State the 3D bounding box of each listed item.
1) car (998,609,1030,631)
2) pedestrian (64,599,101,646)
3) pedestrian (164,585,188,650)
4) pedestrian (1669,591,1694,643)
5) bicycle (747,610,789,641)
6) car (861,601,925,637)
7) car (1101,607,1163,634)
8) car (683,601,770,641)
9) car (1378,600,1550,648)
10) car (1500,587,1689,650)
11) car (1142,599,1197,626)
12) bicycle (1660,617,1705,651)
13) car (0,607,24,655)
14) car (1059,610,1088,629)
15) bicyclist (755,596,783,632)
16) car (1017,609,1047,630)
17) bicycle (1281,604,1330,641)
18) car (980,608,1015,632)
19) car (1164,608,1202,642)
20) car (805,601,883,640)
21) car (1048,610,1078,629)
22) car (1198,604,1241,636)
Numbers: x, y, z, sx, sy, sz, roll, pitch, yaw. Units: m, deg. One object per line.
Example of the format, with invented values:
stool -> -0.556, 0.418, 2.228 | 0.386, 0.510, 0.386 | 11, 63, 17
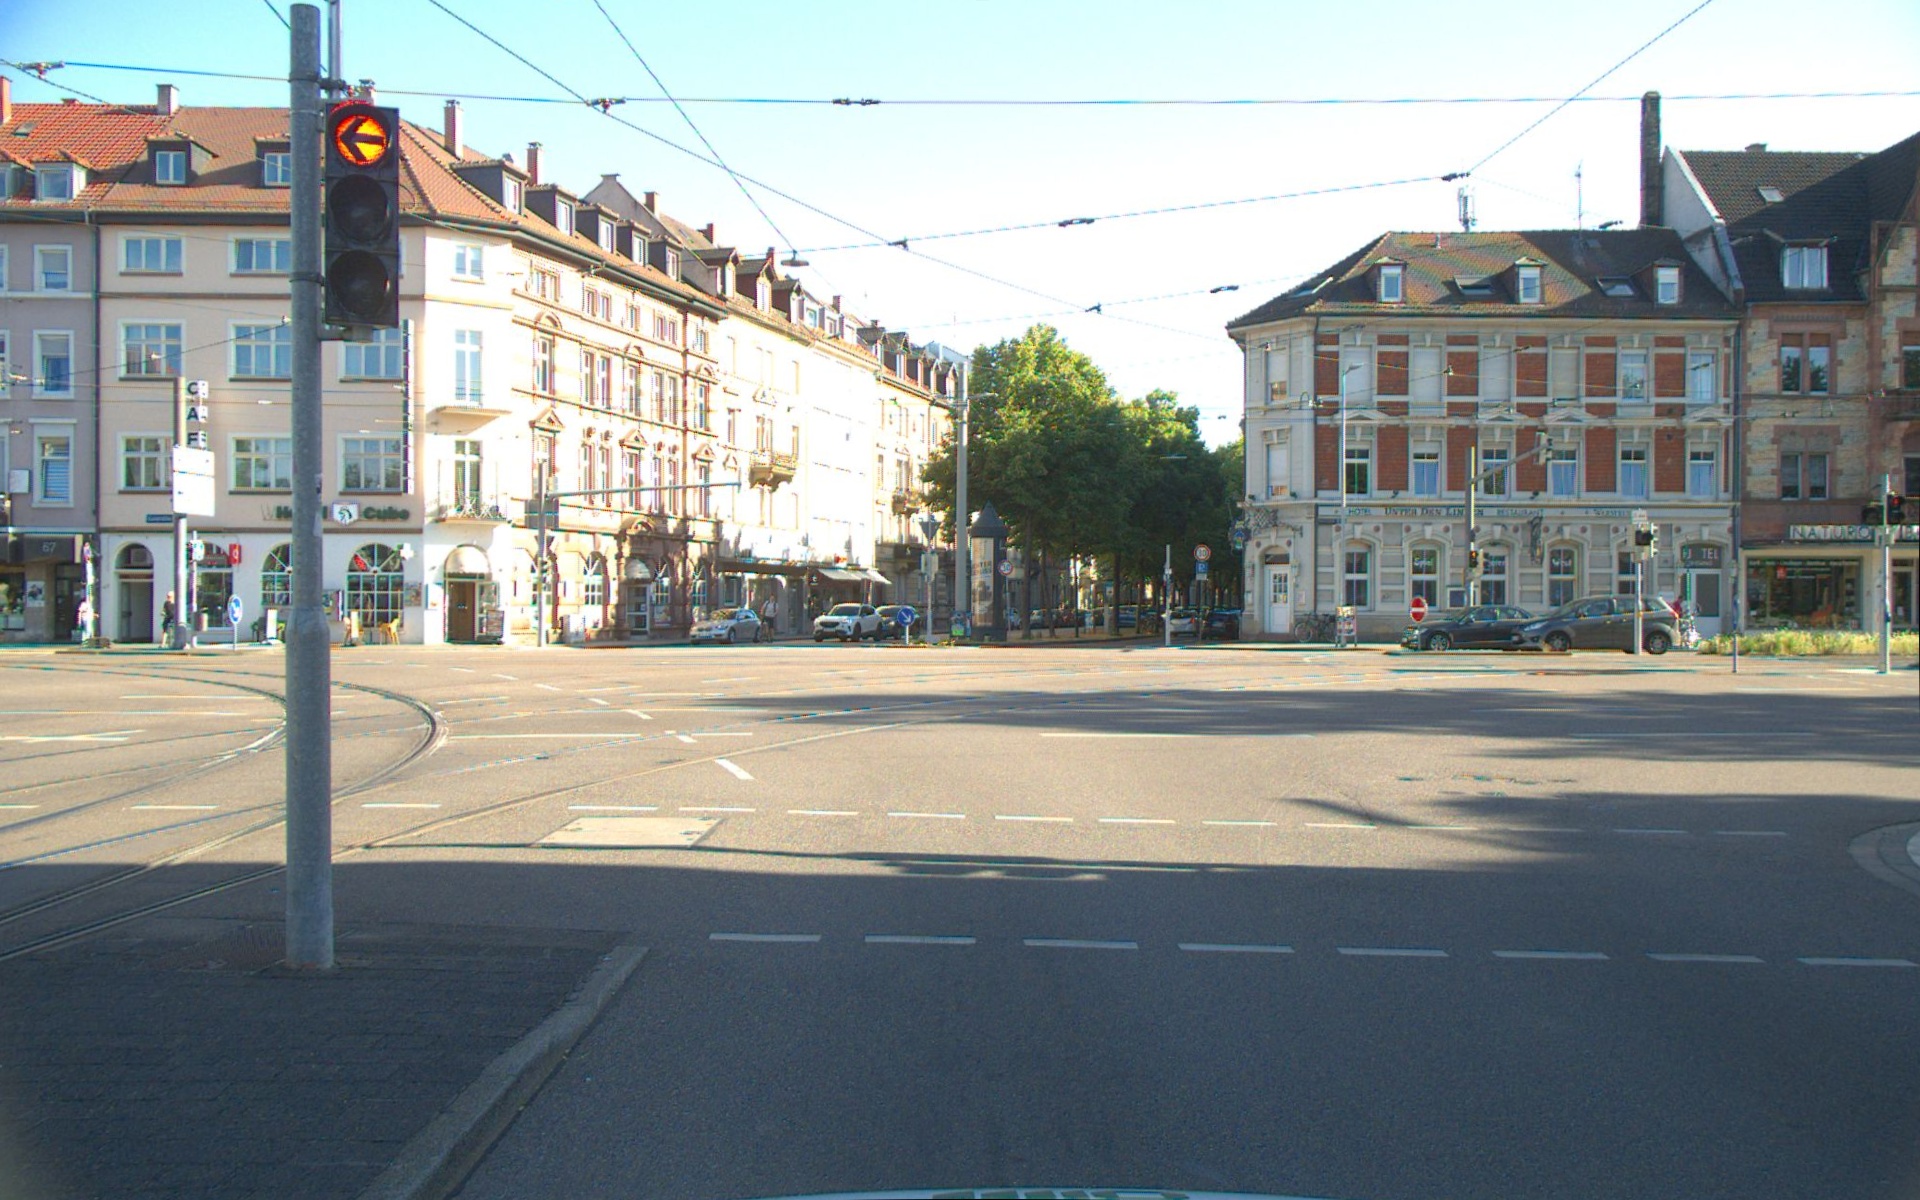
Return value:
car -> 3.804, 1.365, 115.838 | 1.704, 1.422, 4.127 | 3, 0, 9
pedestrian -> -29.273, 0.760, 55.174 | 0.774, 1.553, 0.859 | 0, 0, 0
pedestrian -> -24.670, 0.540, 52.034 | 0.498, 2.049, 0.505 | 0, 0, 2
pedestrian -> 24.800, 0.590, 56.863 | 0.694, 1.782, 0.421 | 0, 0, 0
bicycle -> -7.577, 0.998, 65.494 | 0.734, 1.155, 2.812 | 0, 0, 14
car -> -2.962, 0.802, 73.471 | 1.951, 1.540, 4.004 | 0, 0, 11
car -> 12.005, 1.411, 115.382 | 4.024, 1.675, 1.748 | 3, 0, 15
car -> -9.453, 0.816, 67.219 | 2.052, 1.572, 4.367 | 0, 0, 13
car -> 14.724, 0.687, 48.501 | 4.420, 1.364, 1.999 | 0, 0, -3
car -> 17.372, 0.484, 45.425 | 4.418, 1.701, 1.999 | 0, 0, -2
car -> 16.959, 1.023, 133.662 | 4.026, 1.952, 1.746 | 3, 0, 21
bicycle -> 23.326, 1.093, 53.420 | 0.593, 1.069, 1.641 | 0, 0, -6
car -> -32.067, 0.998, 52.155 | 3.910, 1.489, 1.998 | -1, 1, -6
car -> 9.423, 1.583, 136.500 | 1.704, 1.422, 4.127 | 3, 0, 13
bicyclist -> -7.562, 0.547, 65.463 | 0.776, 1.399, 1.109 | 0, 0, 14
car -> 5.335, 1.421, 122.838 | 1.704, 1.422, 4.127 | 3, 0, 9
bicycle -> 11.972, 0.770, 57.300 | 1.603, 1.243, 0.607 | 0, 0, 16
car -> 2.526, 1.317, 110.015 | 1.704, 1.422, 4.127 | 3, 0, 9
car -> 12.345, 1.347, 91.333 | 1.638, 1.787, 3.761 | 0, 0, 15
car -> -4.654, 0.794, 67.078 | 2.052, 1.525, 4.003 | 0, 0, 13
car -> 8.245, 1.547, 131.704 | 1.704, 1.422, 4.127 | 3, 0, 13
car -> 12.972, 1.010, 82.463 | 1.616, 1.551, 3.755 | 0, -1, 17
